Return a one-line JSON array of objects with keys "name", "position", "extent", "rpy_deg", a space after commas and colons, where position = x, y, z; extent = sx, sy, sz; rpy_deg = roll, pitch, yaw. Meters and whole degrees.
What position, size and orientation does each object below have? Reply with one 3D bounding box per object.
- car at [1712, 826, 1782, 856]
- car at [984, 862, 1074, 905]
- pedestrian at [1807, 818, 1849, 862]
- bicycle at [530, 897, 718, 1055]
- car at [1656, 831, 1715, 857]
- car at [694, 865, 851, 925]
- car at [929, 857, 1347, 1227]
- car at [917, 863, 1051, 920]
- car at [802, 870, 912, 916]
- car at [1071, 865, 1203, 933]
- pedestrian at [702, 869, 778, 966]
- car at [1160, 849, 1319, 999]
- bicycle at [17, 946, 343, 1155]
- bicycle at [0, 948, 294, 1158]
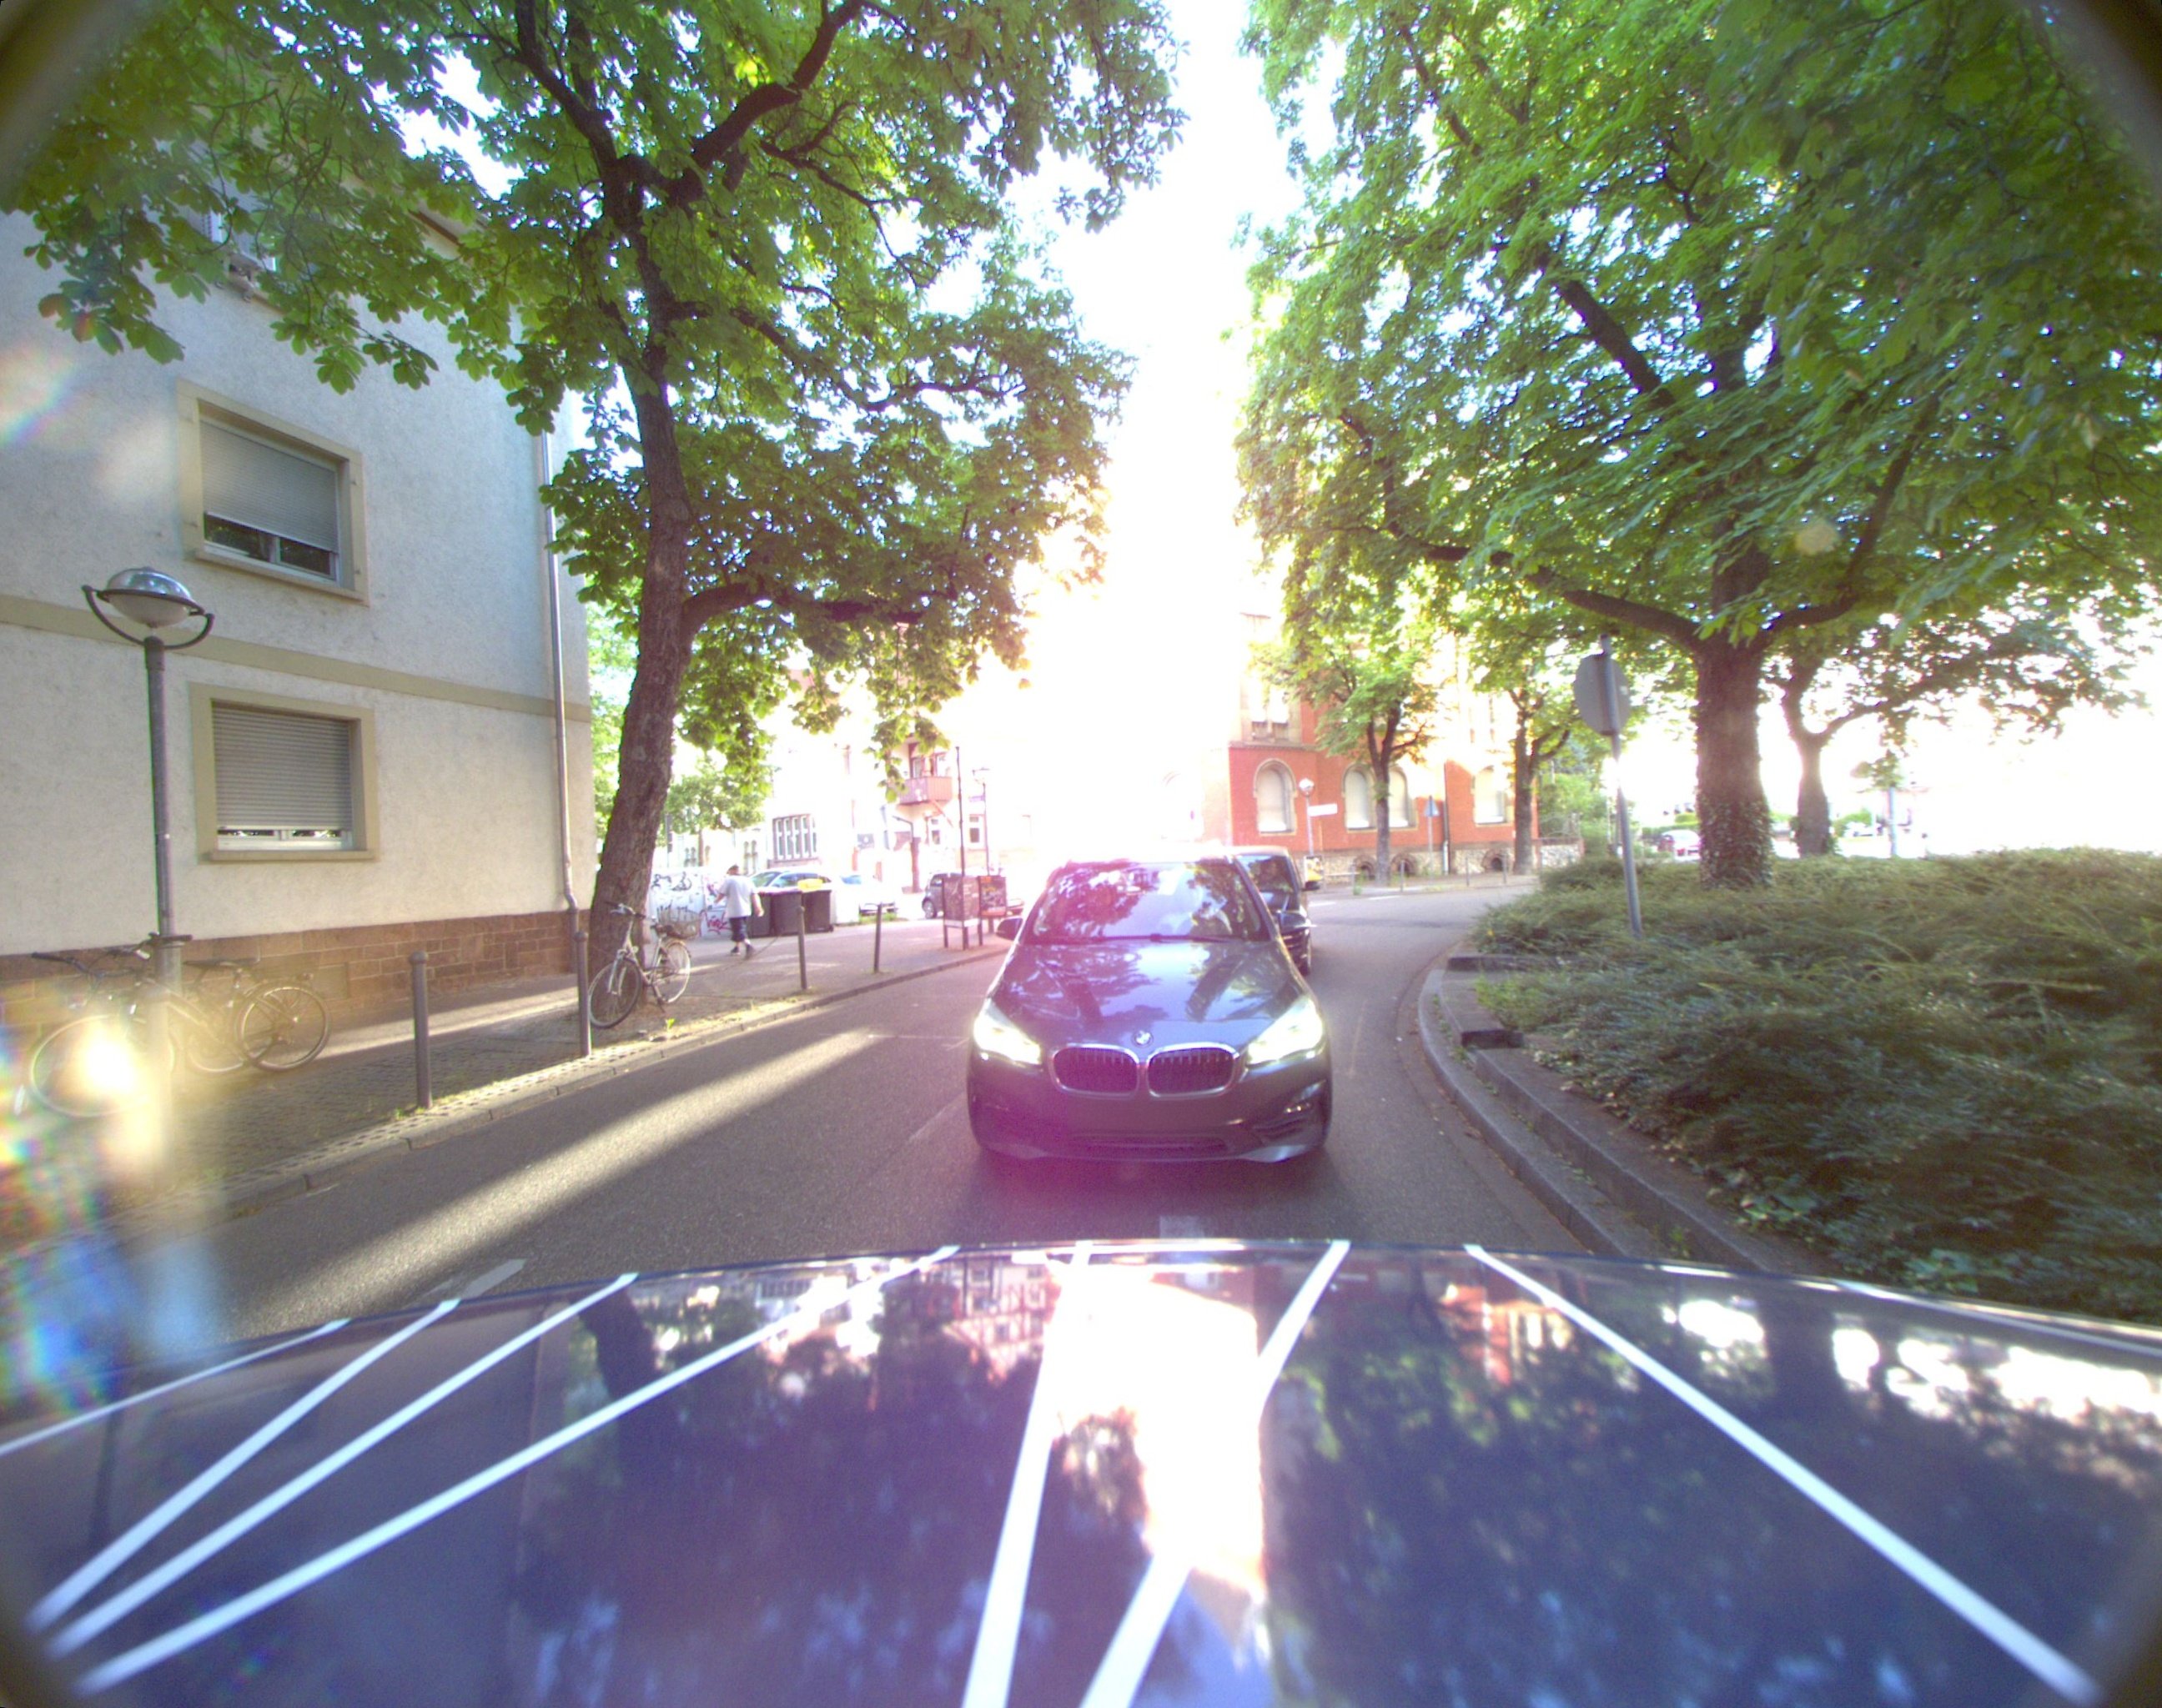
[{"name": "car", "position": [35.231, -0.708, 40.309], "extent": [1.733, 1.409, 4.006], "rpy_deg": [-3, 0, 25]}, {"name": "car", "position": [-1.997, 1.130, 29.049], "extent": [3.207, 1.530, 1.495], "rpy_deg": [-2, 0, 38]}, {"name": "pedestrian", "position": [29.586, -0.554, 30.087], "extent": [0.905, 1.625, 0.725], "rpy_deg": [-5, 0, -13]}, {"name": "bicycle", "position": [-4.605, 1.162, 7.862], "extent": [0.767, 1.297, 1.903], "rpy_deg": [-3, 0, -1]}, {"name": "car", "position": [38.012, -0.673, 47.874], "extent": [1.733, 1.409, 4.004], "rpy_deg": [-3, 2, 21]}, {"name": "car", "position": [-8.808, 1.139, 21.946], "extent": [1.672, 1.417, 3.811], "rpy_deg": [-3, 0, 36]}, {"name": "car", "position": [0.459, 0.853, 5.485], "extent": [1.792, 1.569, 4.262], "rpy_deg": [-2, 0, 6]}, {"name": "car", "position": [-3.037, 1.165, 23.451], "extent": [4.041, 1.543, 1.700], "rpy_deg": [-3, 0, 39]}, {"name": "car", "position": [-8.390, 1.464, 28.316], "extent": [4.175, 1.543, 1.809], "rpy_deg": [-3, -1, 39]}, {"name": "car", "position": [1.237, 1.023, 18.168], "extent": [1.474, 1.381, 3.394], "rpy_deg": [-3, 0, -29]}, {"name": "pedestrian", "position": [-5.835, 1.064, 13.012], "extent": [0.943, 1.583, 0.643], "rpy_deg": [-1, 1, 18]}, {"name": "car", "position": [2.286, 0.798, 10.347], "extent": [1.677, 1.619, 3.692], "rpy_deg": [-3, 0, 16]}, {"name": "bicycle", "position": [-6.370, 1.317, 5.521], "extent": [0.334, 1.087, 1.636], "rpy_deg": [-3, 0, 1]}, {"name": "bicycle", "position": [-6.730, 1.329, 5.475], "extent": [0.334, 1.087, 1.636], "rpy_deg": [-3, 0, 1]}]
